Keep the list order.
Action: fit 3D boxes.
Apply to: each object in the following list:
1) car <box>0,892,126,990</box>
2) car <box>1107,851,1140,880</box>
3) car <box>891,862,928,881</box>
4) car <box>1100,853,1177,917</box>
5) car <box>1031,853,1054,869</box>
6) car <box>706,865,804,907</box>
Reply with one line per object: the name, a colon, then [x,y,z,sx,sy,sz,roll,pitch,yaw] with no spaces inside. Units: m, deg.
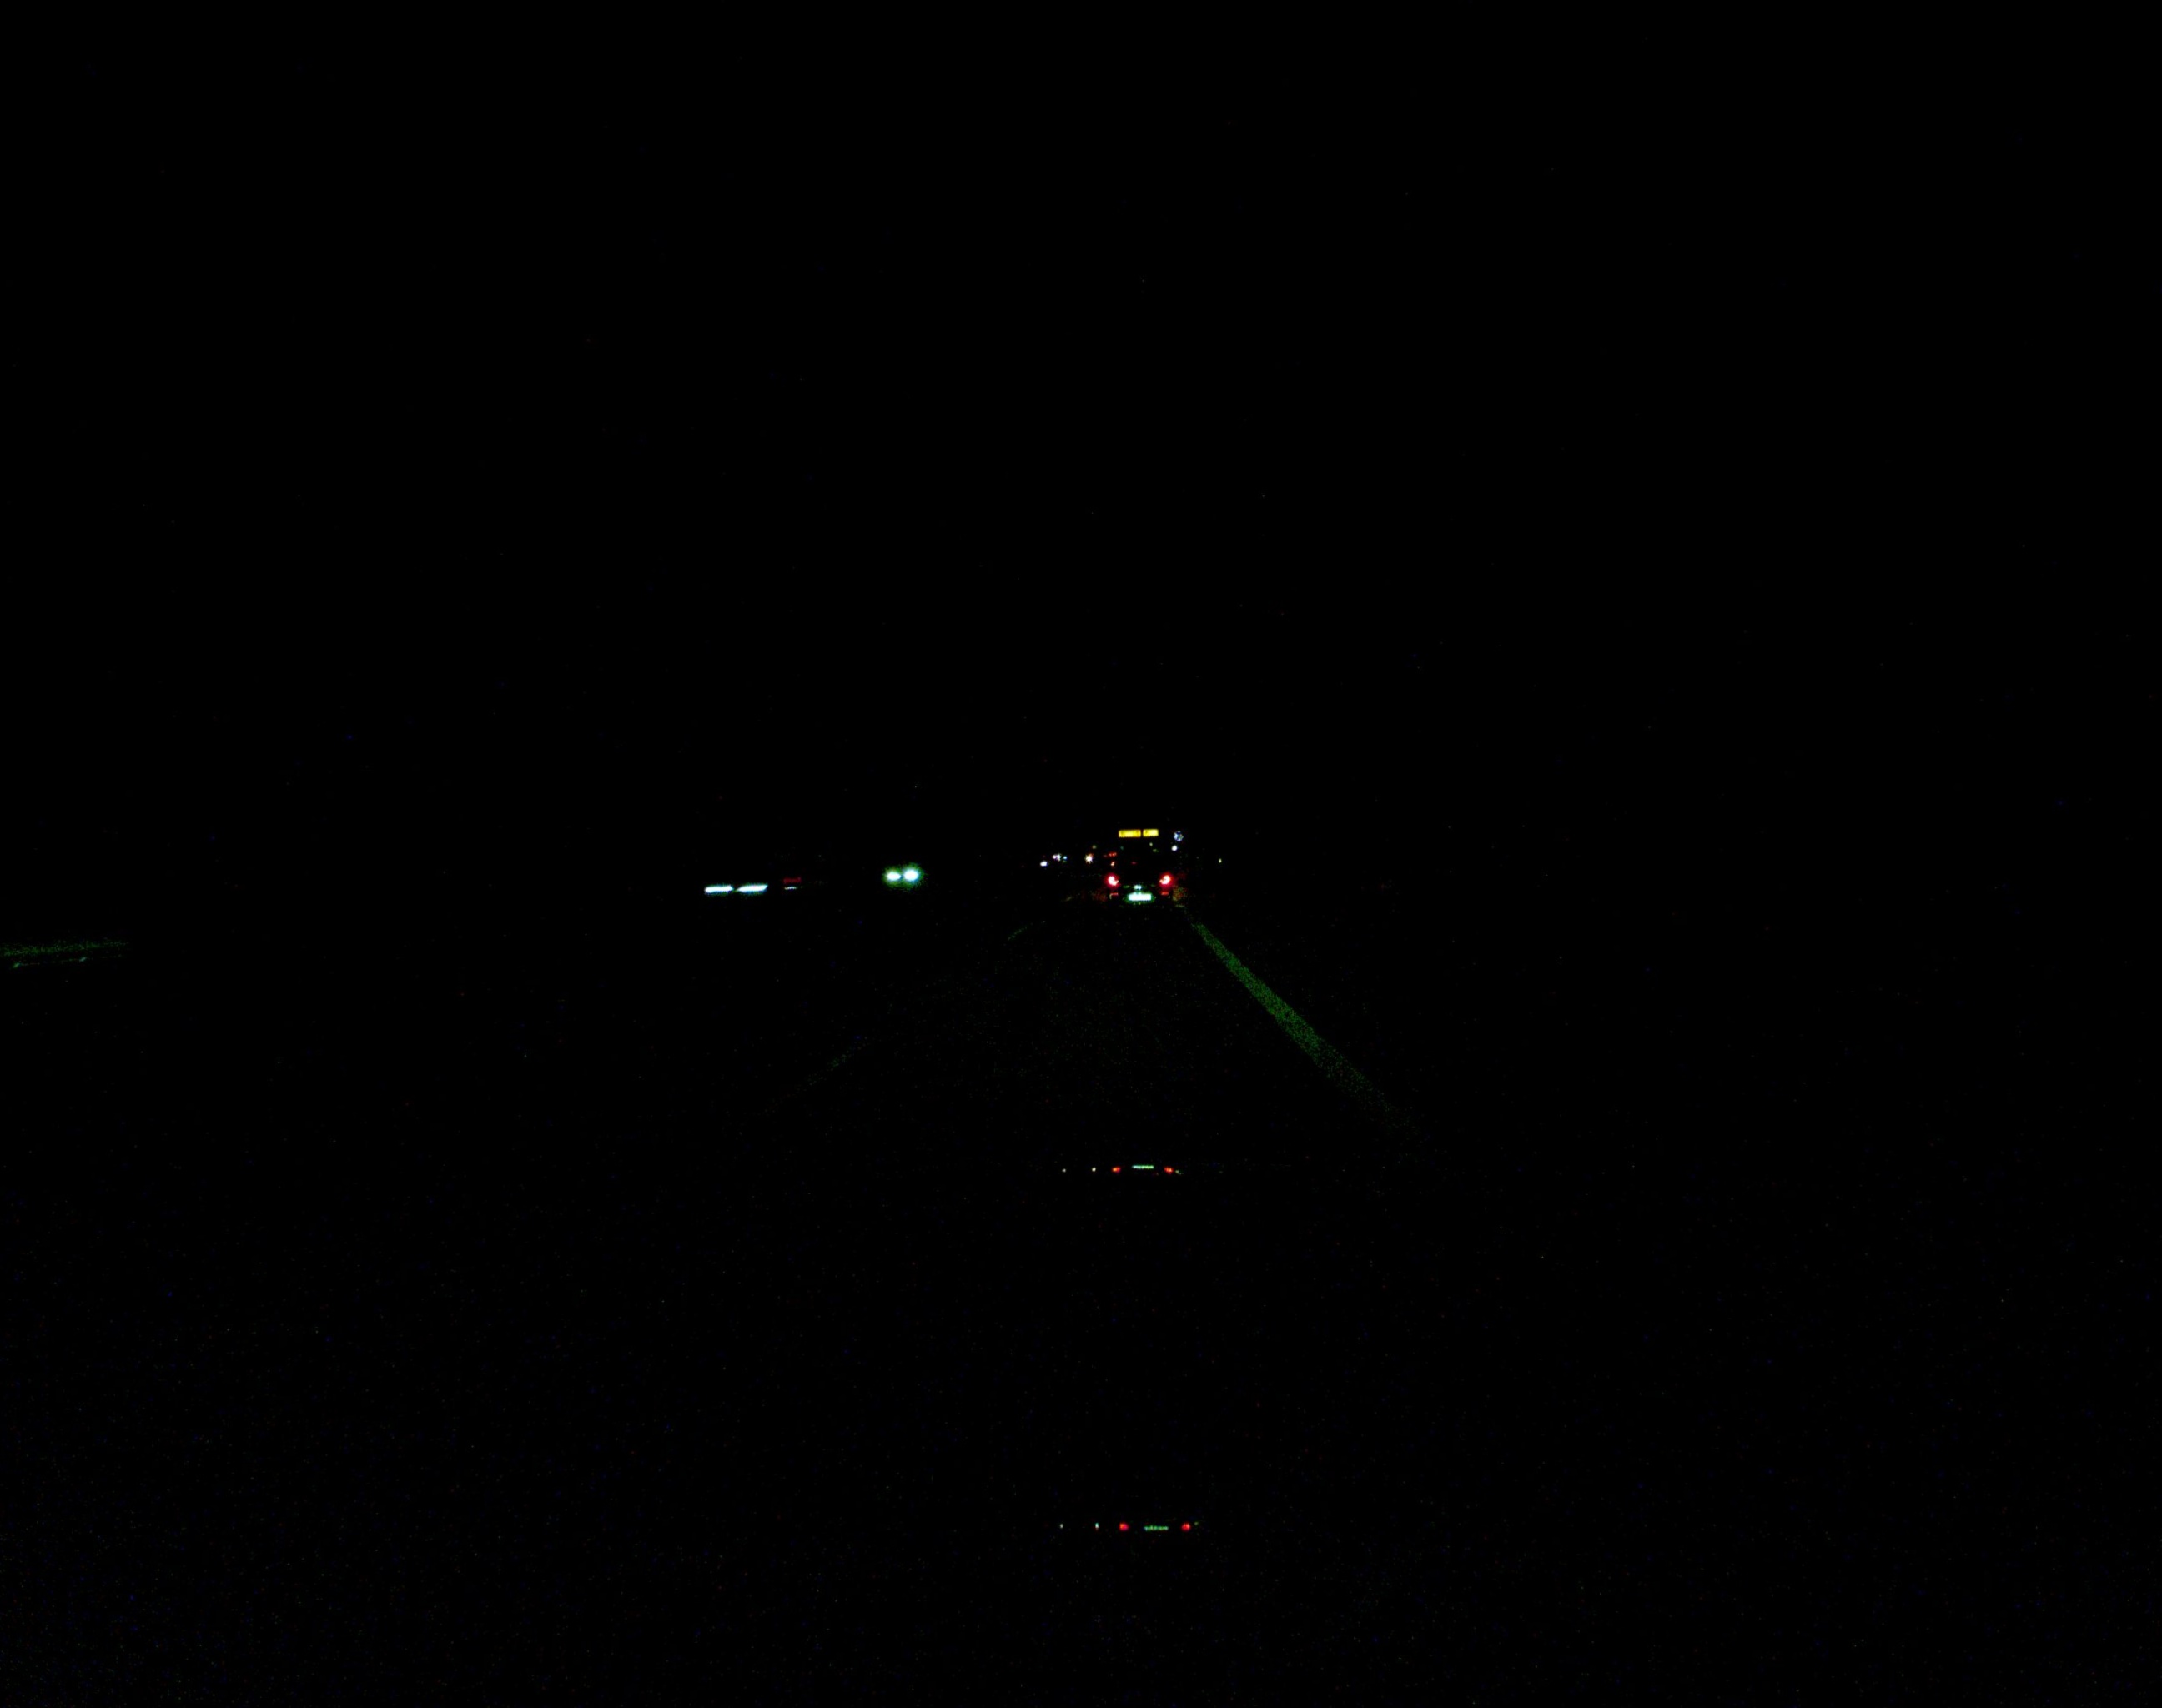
car: [-18.003,1.461,12.325,1.948,1.457,4.177,-3,0,6]
car: [2.640,0.682,50.752,1.899,1.698,4.003,-1,0,3]
car: [-14.249,1.444,68.009,1.764,1.411,4.849,-1,0,3]
car: [1.418,0.725,21.310,1.584,1.508,3.997,0,0,-2]
car: [-4.726,0.867,100.882,1.948,1.733,5.088,-3,0,6]
car: [-13.770,1.309,34.712,1.948,1.457,4.478,-3,0,6]
